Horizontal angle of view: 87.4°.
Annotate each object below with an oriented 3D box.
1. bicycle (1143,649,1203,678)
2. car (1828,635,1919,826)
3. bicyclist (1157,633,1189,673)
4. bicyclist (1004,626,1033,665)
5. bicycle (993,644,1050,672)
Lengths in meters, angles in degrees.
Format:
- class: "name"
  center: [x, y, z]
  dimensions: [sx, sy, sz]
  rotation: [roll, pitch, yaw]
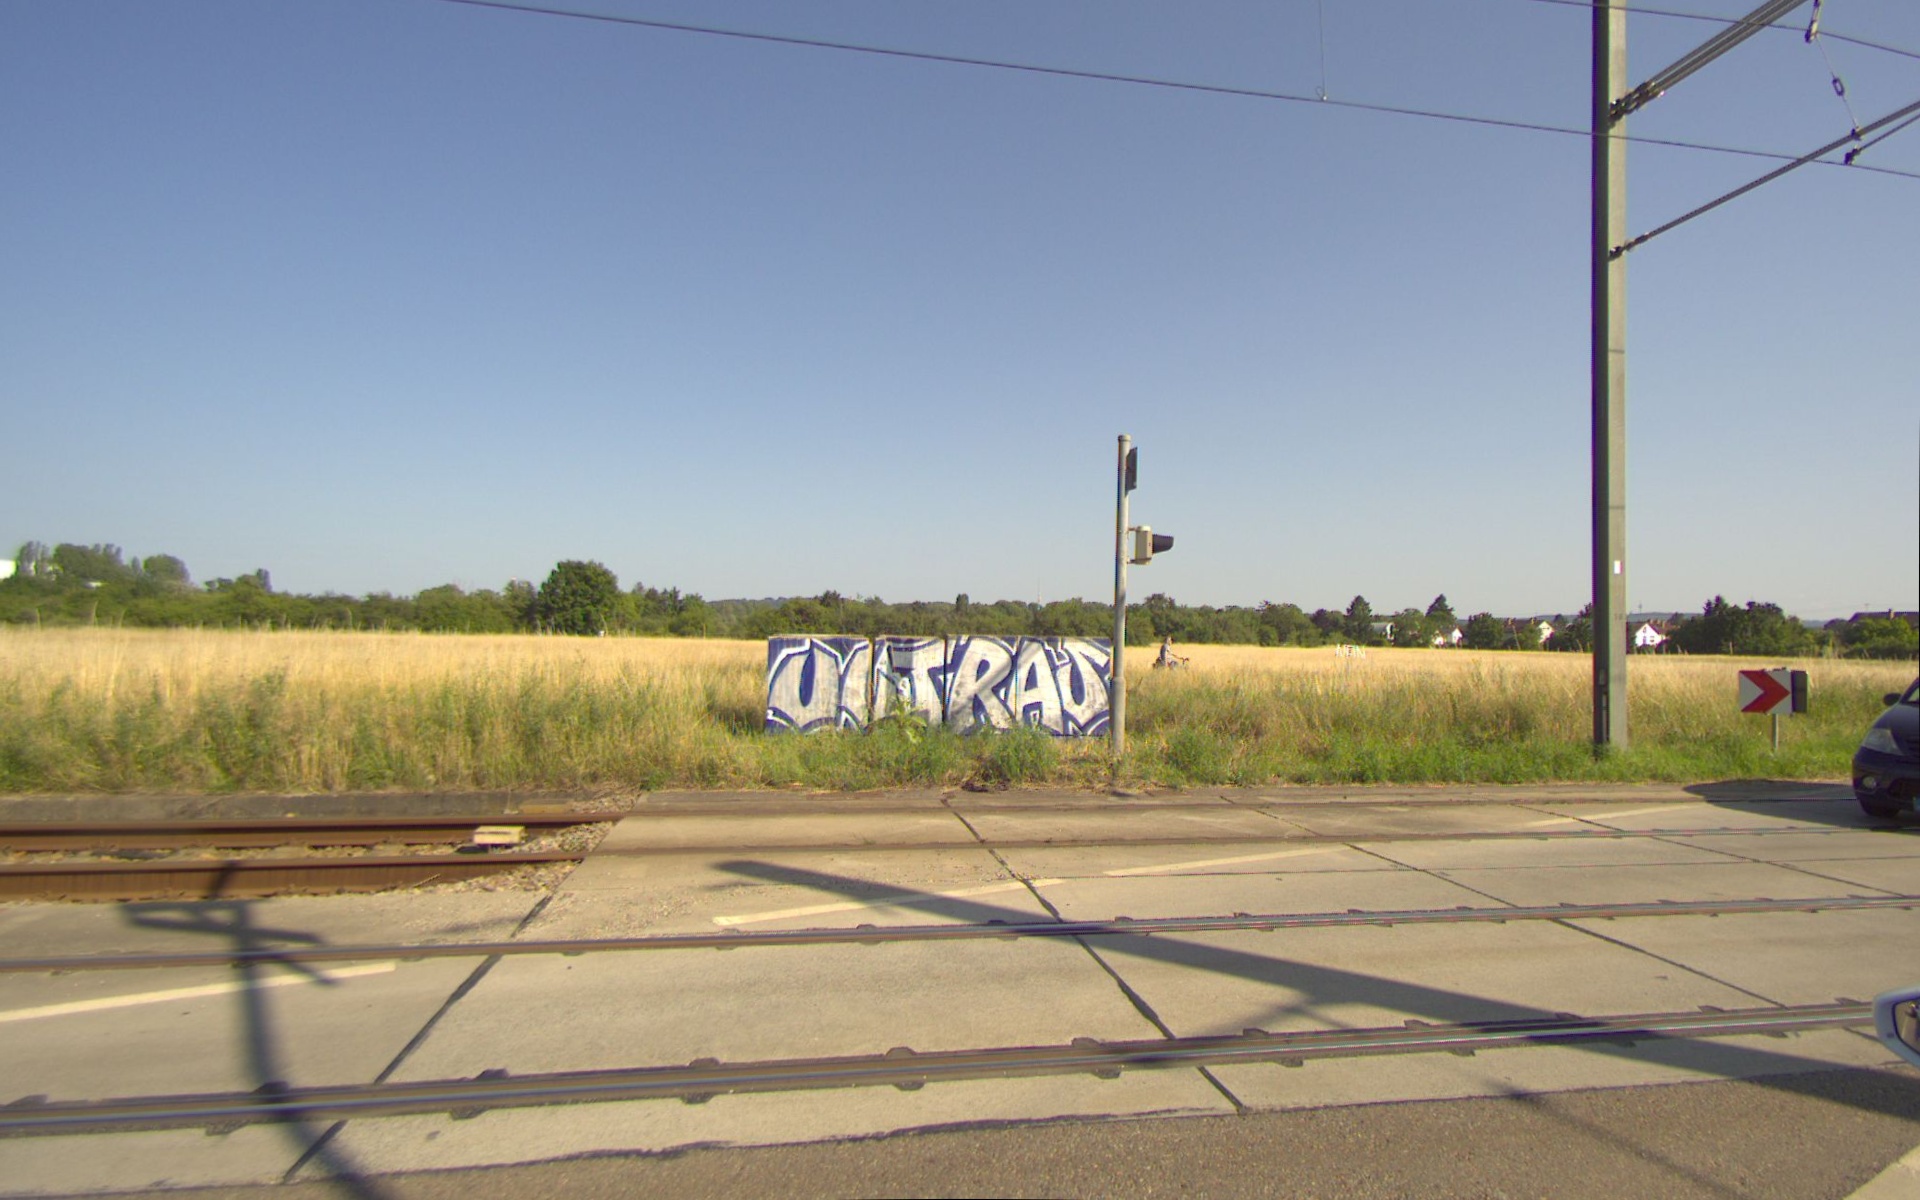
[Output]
- class: "bicycle"
  center: [6.767, 2.014, 31.956]
  dimensions: [1.705, 0.850, 0.751]
  rotation: [2, -1, -11]
- class: "car"
  center: [9.470, 1.110, 8.772]
  dimensions: [3.952, 1.513, 1.617]
  rotation: [2, -3, -29]
- class: "bicyclist"
  center: [6.775, 1.677, 31.957]
  dimensions: [0.775, 1.221, 0.746]
  rotation: [2, -1, -11]
- class: "bicyclist"
  center: [1.853, 1.435, 31.880]
  dimensions: [0.775, 1.221, 0.603]
  rotation: [1, -1, -11]
- class: "bicycle"
  center: [1.950, 1.843, 31.894]
  dimensions: [1.705, 0.850, 0.614]
  rotation: [2, -1, -11]
